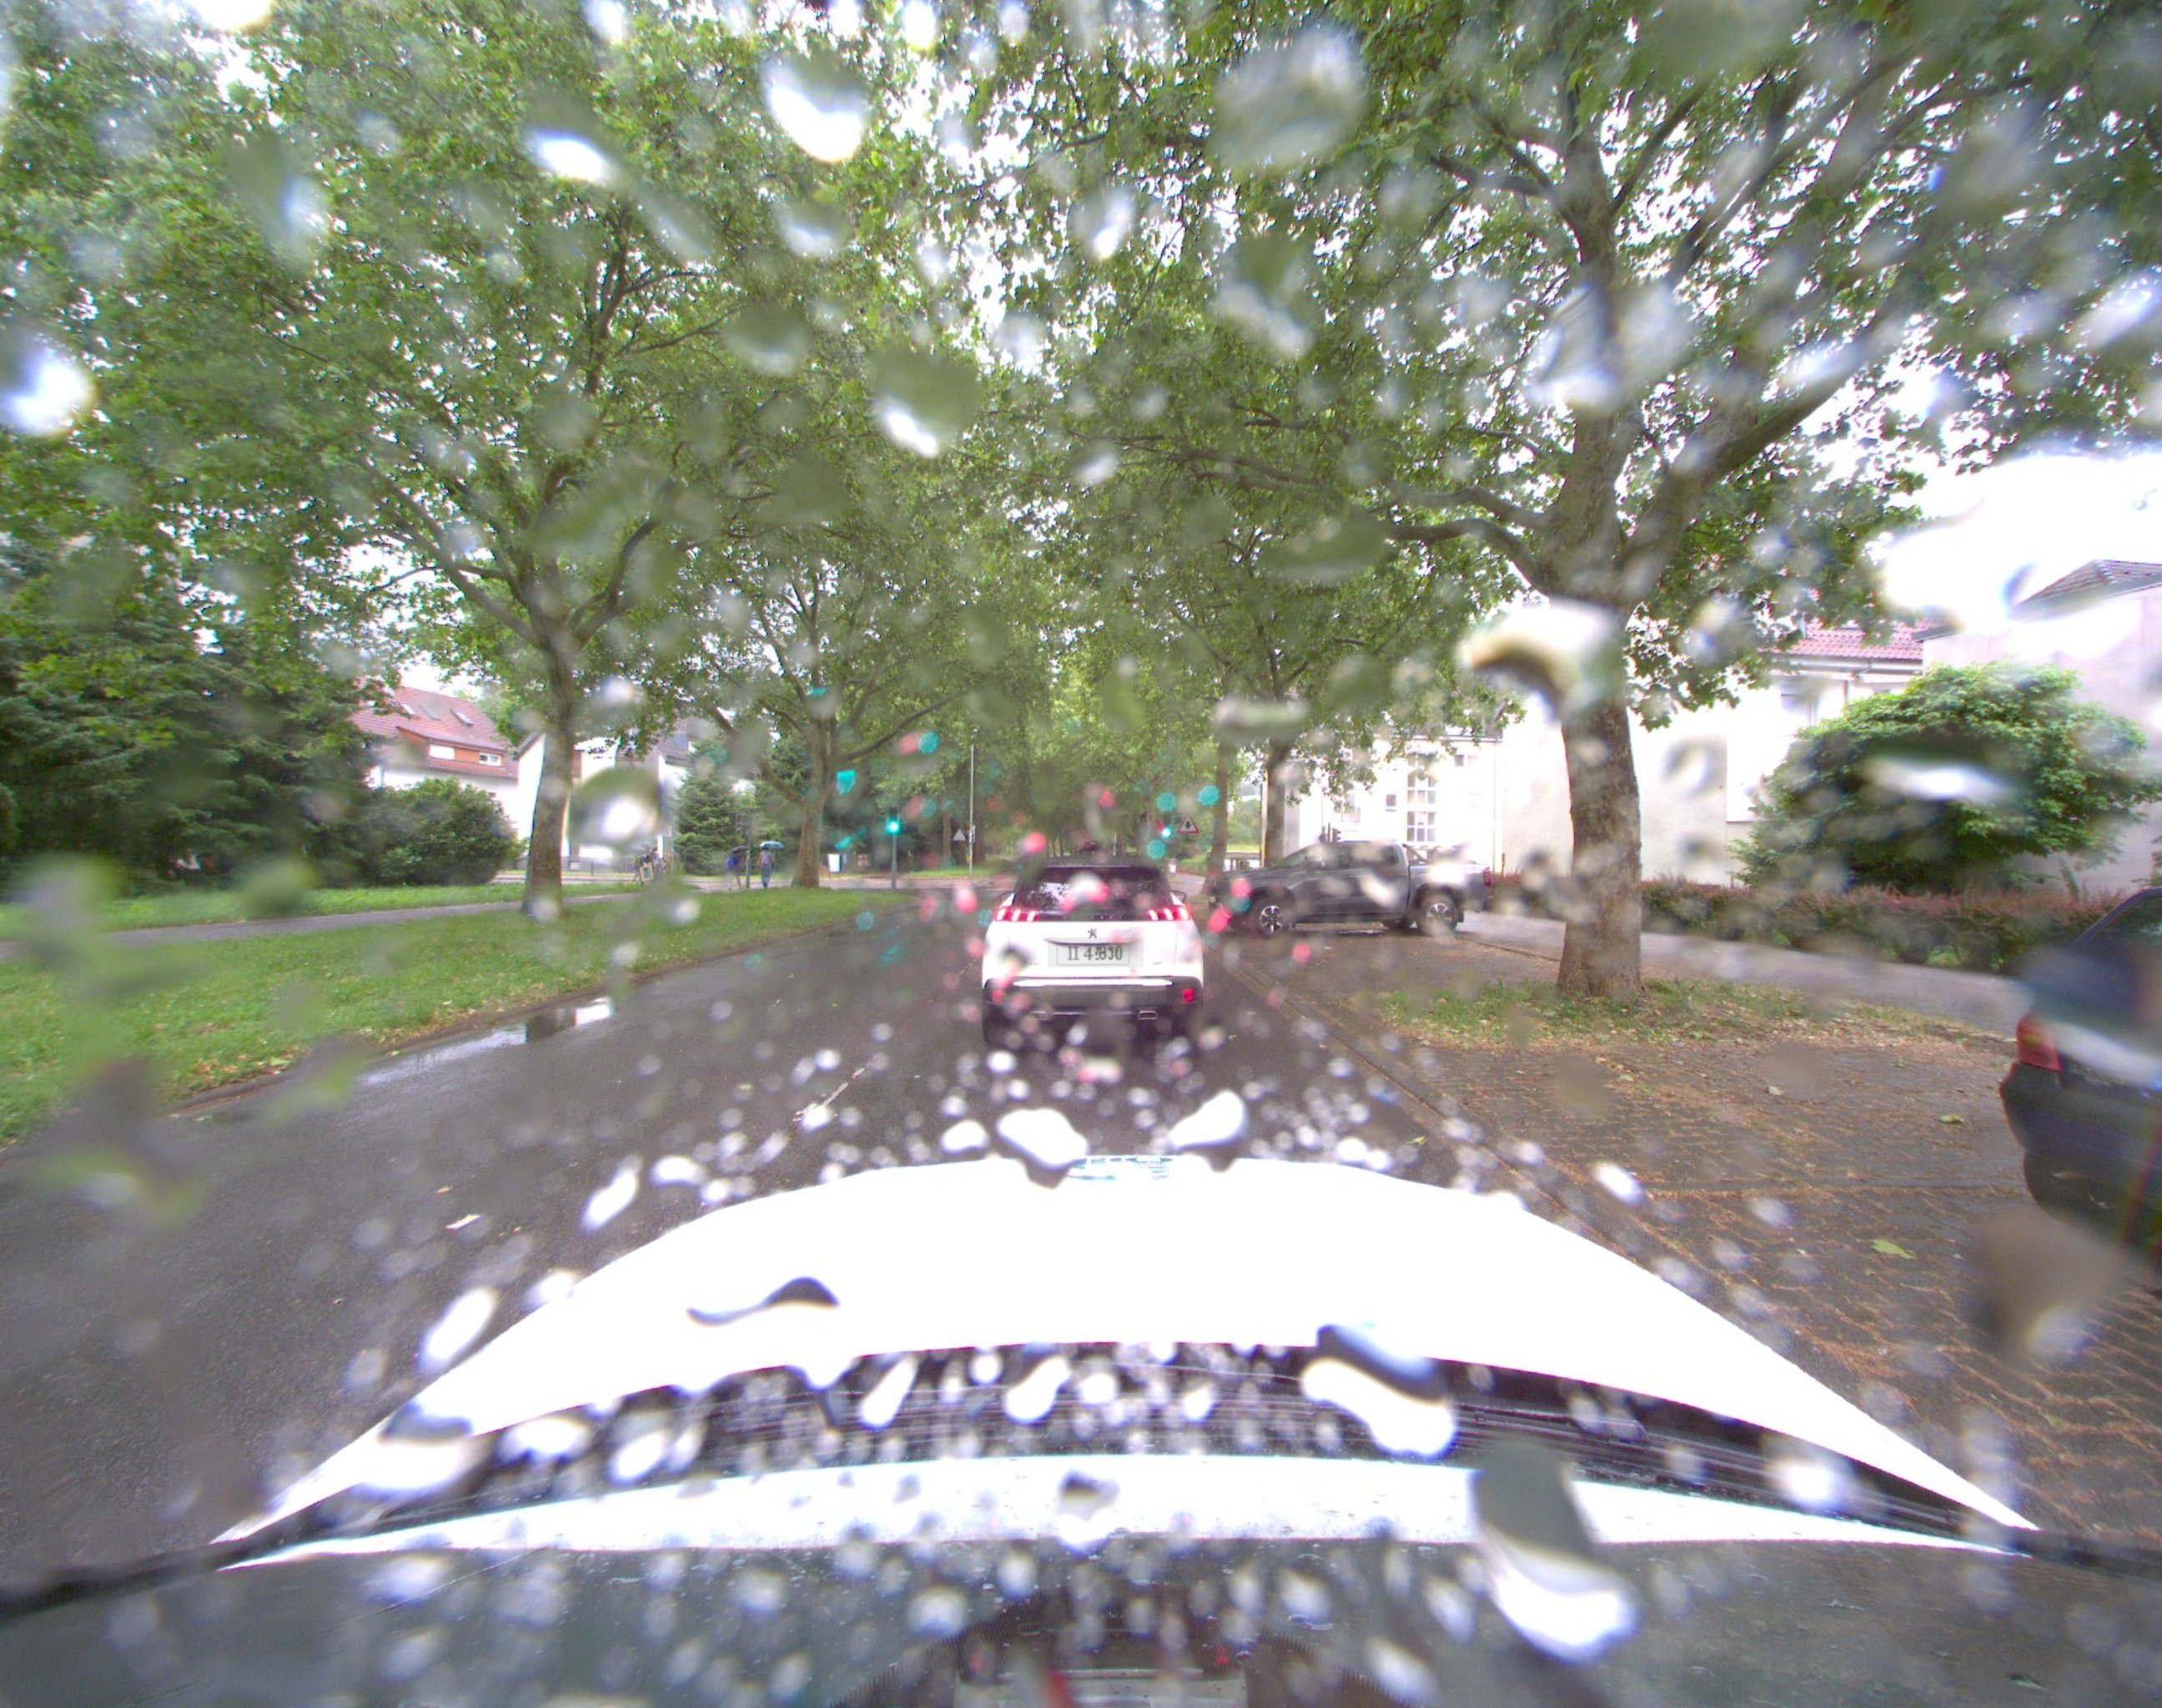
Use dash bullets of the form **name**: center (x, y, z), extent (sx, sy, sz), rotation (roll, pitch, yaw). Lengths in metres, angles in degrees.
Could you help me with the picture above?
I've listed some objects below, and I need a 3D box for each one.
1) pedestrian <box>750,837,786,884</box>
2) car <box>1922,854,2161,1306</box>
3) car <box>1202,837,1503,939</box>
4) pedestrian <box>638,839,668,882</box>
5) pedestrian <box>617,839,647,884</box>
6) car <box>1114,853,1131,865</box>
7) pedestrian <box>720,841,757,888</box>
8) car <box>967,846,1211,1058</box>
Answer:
- **pedestrian**: center (-11.876, 0.242, 30.889), extent (1.029, 1.765, 0.838), rotation (0, 0, 1)
- **car**: center (5.182, 0.743, 2.609), extent (3.344, 1.464, 1.618), rotation (0, 0, 0)
- **car**: center (5.201, 0.609, 15.957), extent (5.330, 1.807, 1.842), rotation (0, 0, -6)
- **pedestrian**: center (-17.539, 0.279, 33.407), extent (0.856, 1.744, 0.639), rotation (1, 0, -2)
- **pedestrian**: center (-17.802, 0.288, 32.307), extent (0.818, 1.744, 0.639), rotation (1, 0, -2)
- **car**: center (5.698, 0.677, 111.743), extent (1.901, 1.510, 3.928), rotation (0, 0, -2)
- **pedestrian**: center (-13.043, 0.379, 31.022), extent (1.029, 1.765, 0.879), rotation (0, 0, 1)
- **car**: center (0.107, 0.703, 7.951), extent (1.774, 1.536, 4.058), rotation (0, 0, 1)
